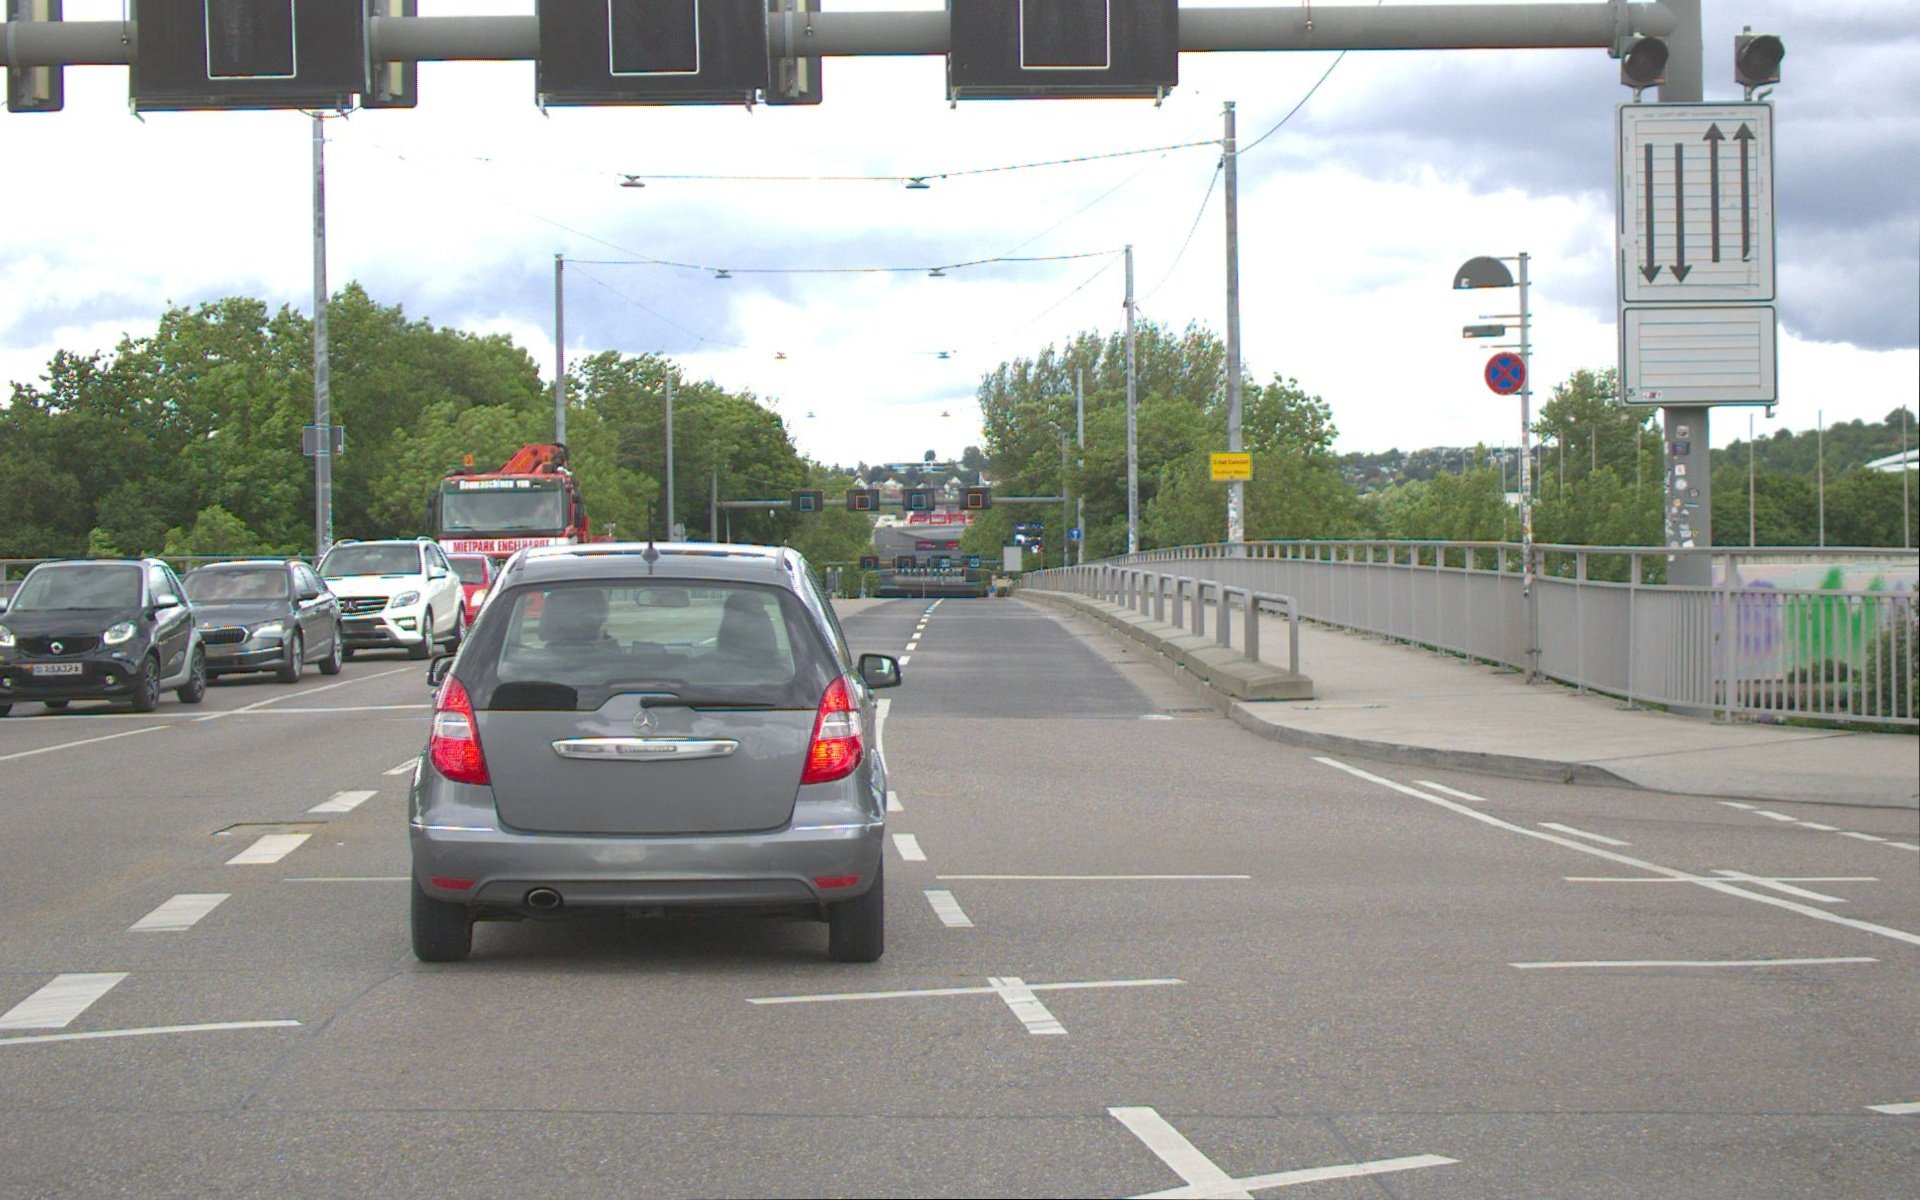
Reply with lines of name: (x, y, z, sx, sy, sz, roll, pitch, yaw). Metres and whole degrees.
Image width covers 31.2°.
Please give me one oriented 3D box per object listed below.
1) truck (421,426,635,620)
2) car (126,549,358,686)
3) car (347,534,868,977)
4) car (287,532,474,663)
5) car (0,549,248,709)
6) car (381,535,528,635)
truck: (-8.554, -1.544, 69.331, 3.005, 3.553, 9.983, -1, 1, 0)
car: (-8.624, 0.163, 41.637, 1.835, 1.499, 4.517, -1, 1, 0)
car: (-1.291, 0.511, 14.017, 1.745, 1.545, 3.871, 0, 1, 0)
car: (-8.342, -0.077, 49.883, 1.880, 1.755, 4.803, -1, 1, 0)
car: (-8.732, 0.256, 35.407, 1.835, 1.499, 3.871, -1, 1, 2)
car: (-8.550, -0.286, 58.421, 1.880, 1.597, 4.016, -1, 1, 0)
